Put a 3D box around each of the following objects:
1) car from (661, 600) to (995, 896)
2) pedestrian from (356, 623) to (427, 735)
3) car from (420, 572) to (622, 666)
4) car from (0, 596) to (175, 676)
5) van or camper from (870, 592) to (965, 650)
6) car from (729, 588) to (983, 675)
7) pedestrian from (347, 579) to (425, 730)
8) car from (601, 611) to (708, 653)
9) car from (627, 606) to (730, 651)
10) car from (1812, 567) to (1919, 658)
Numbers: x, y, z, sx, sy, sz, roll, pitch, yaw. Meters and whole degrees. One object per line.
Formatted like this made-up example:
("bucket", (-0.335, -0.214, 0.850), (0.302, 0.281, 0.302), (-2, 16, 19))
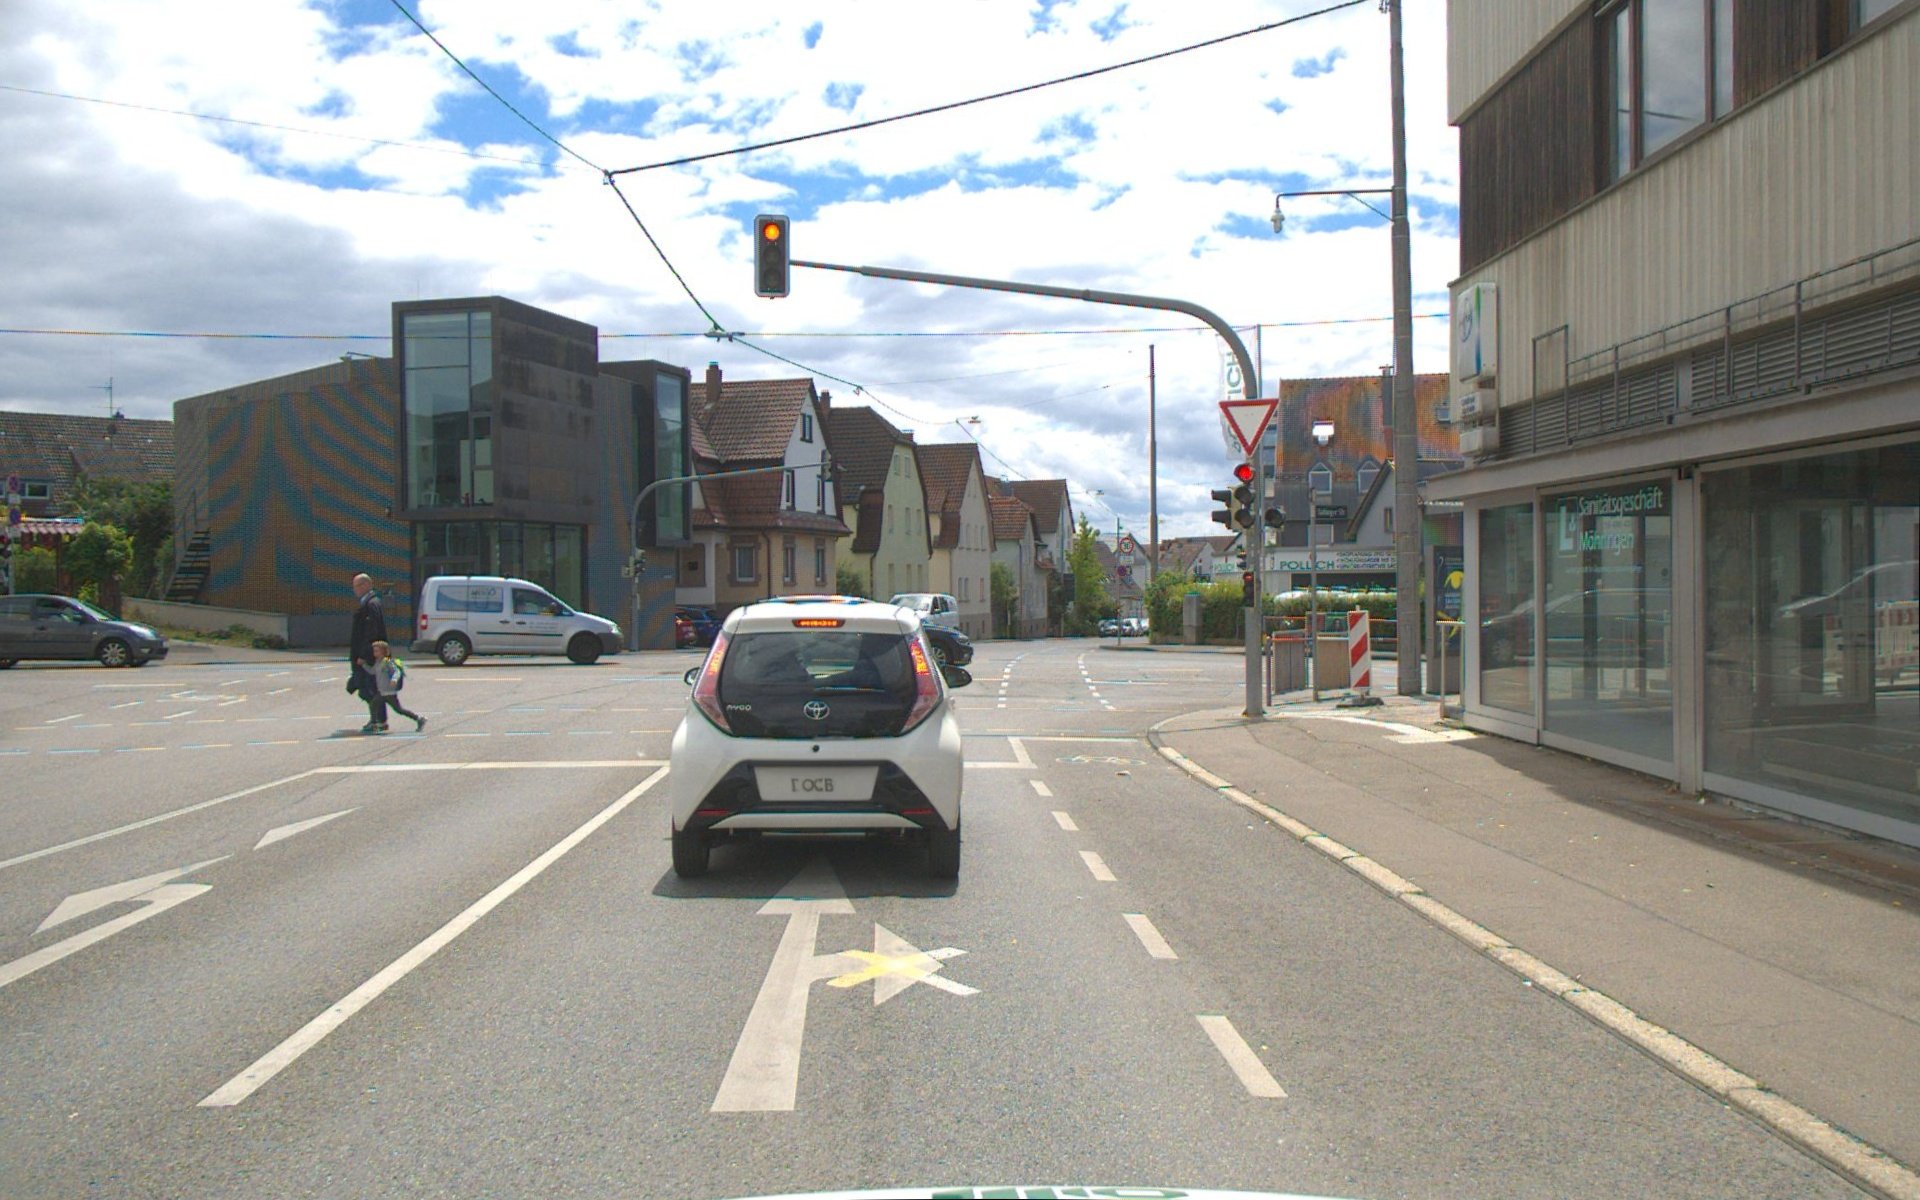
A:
("car", (-0.750, 0.762, 10.044), (1.663, 1.482, 3.297), (1, 0, -3))
("pedestrian", (-6.516, 0.896, 18.974), (0.721, 1.243, 0.643), (0, 0, -15))
("car", (-9.327, 0.408, 35.152), (3.996, 1.881, 1.990), (1, 0, -18))
("car", (-18.091, 0.696, 33.144), (3.921, 1.512, 1.992), (1, 0, -15))
("van or camper", (-1.463, 0.736, 59.103), (2.070, 1.959, 5.289), (1, 0, 14))
("car", (-2.082, 0.599, 32.357), (4.806, 1.605, 1.996), (1, 0, -9))
("pedestrian", (-6.813, 0.632, 19.664), (0.808, 1.751, 0.814), (0, 0, -15))
("car", (-11.379, 1.180, 61.741), (3.537, 1.444, 1.693), (1, 0, 10))
("car", (-10.861, 1.105, 63.974), (3.537, 1.633, 1.693), (1, 0, 10))
("car", (20.477, 0.284, 35.094), (3.902, 1.870, 2.001), (1, 0, 15))
